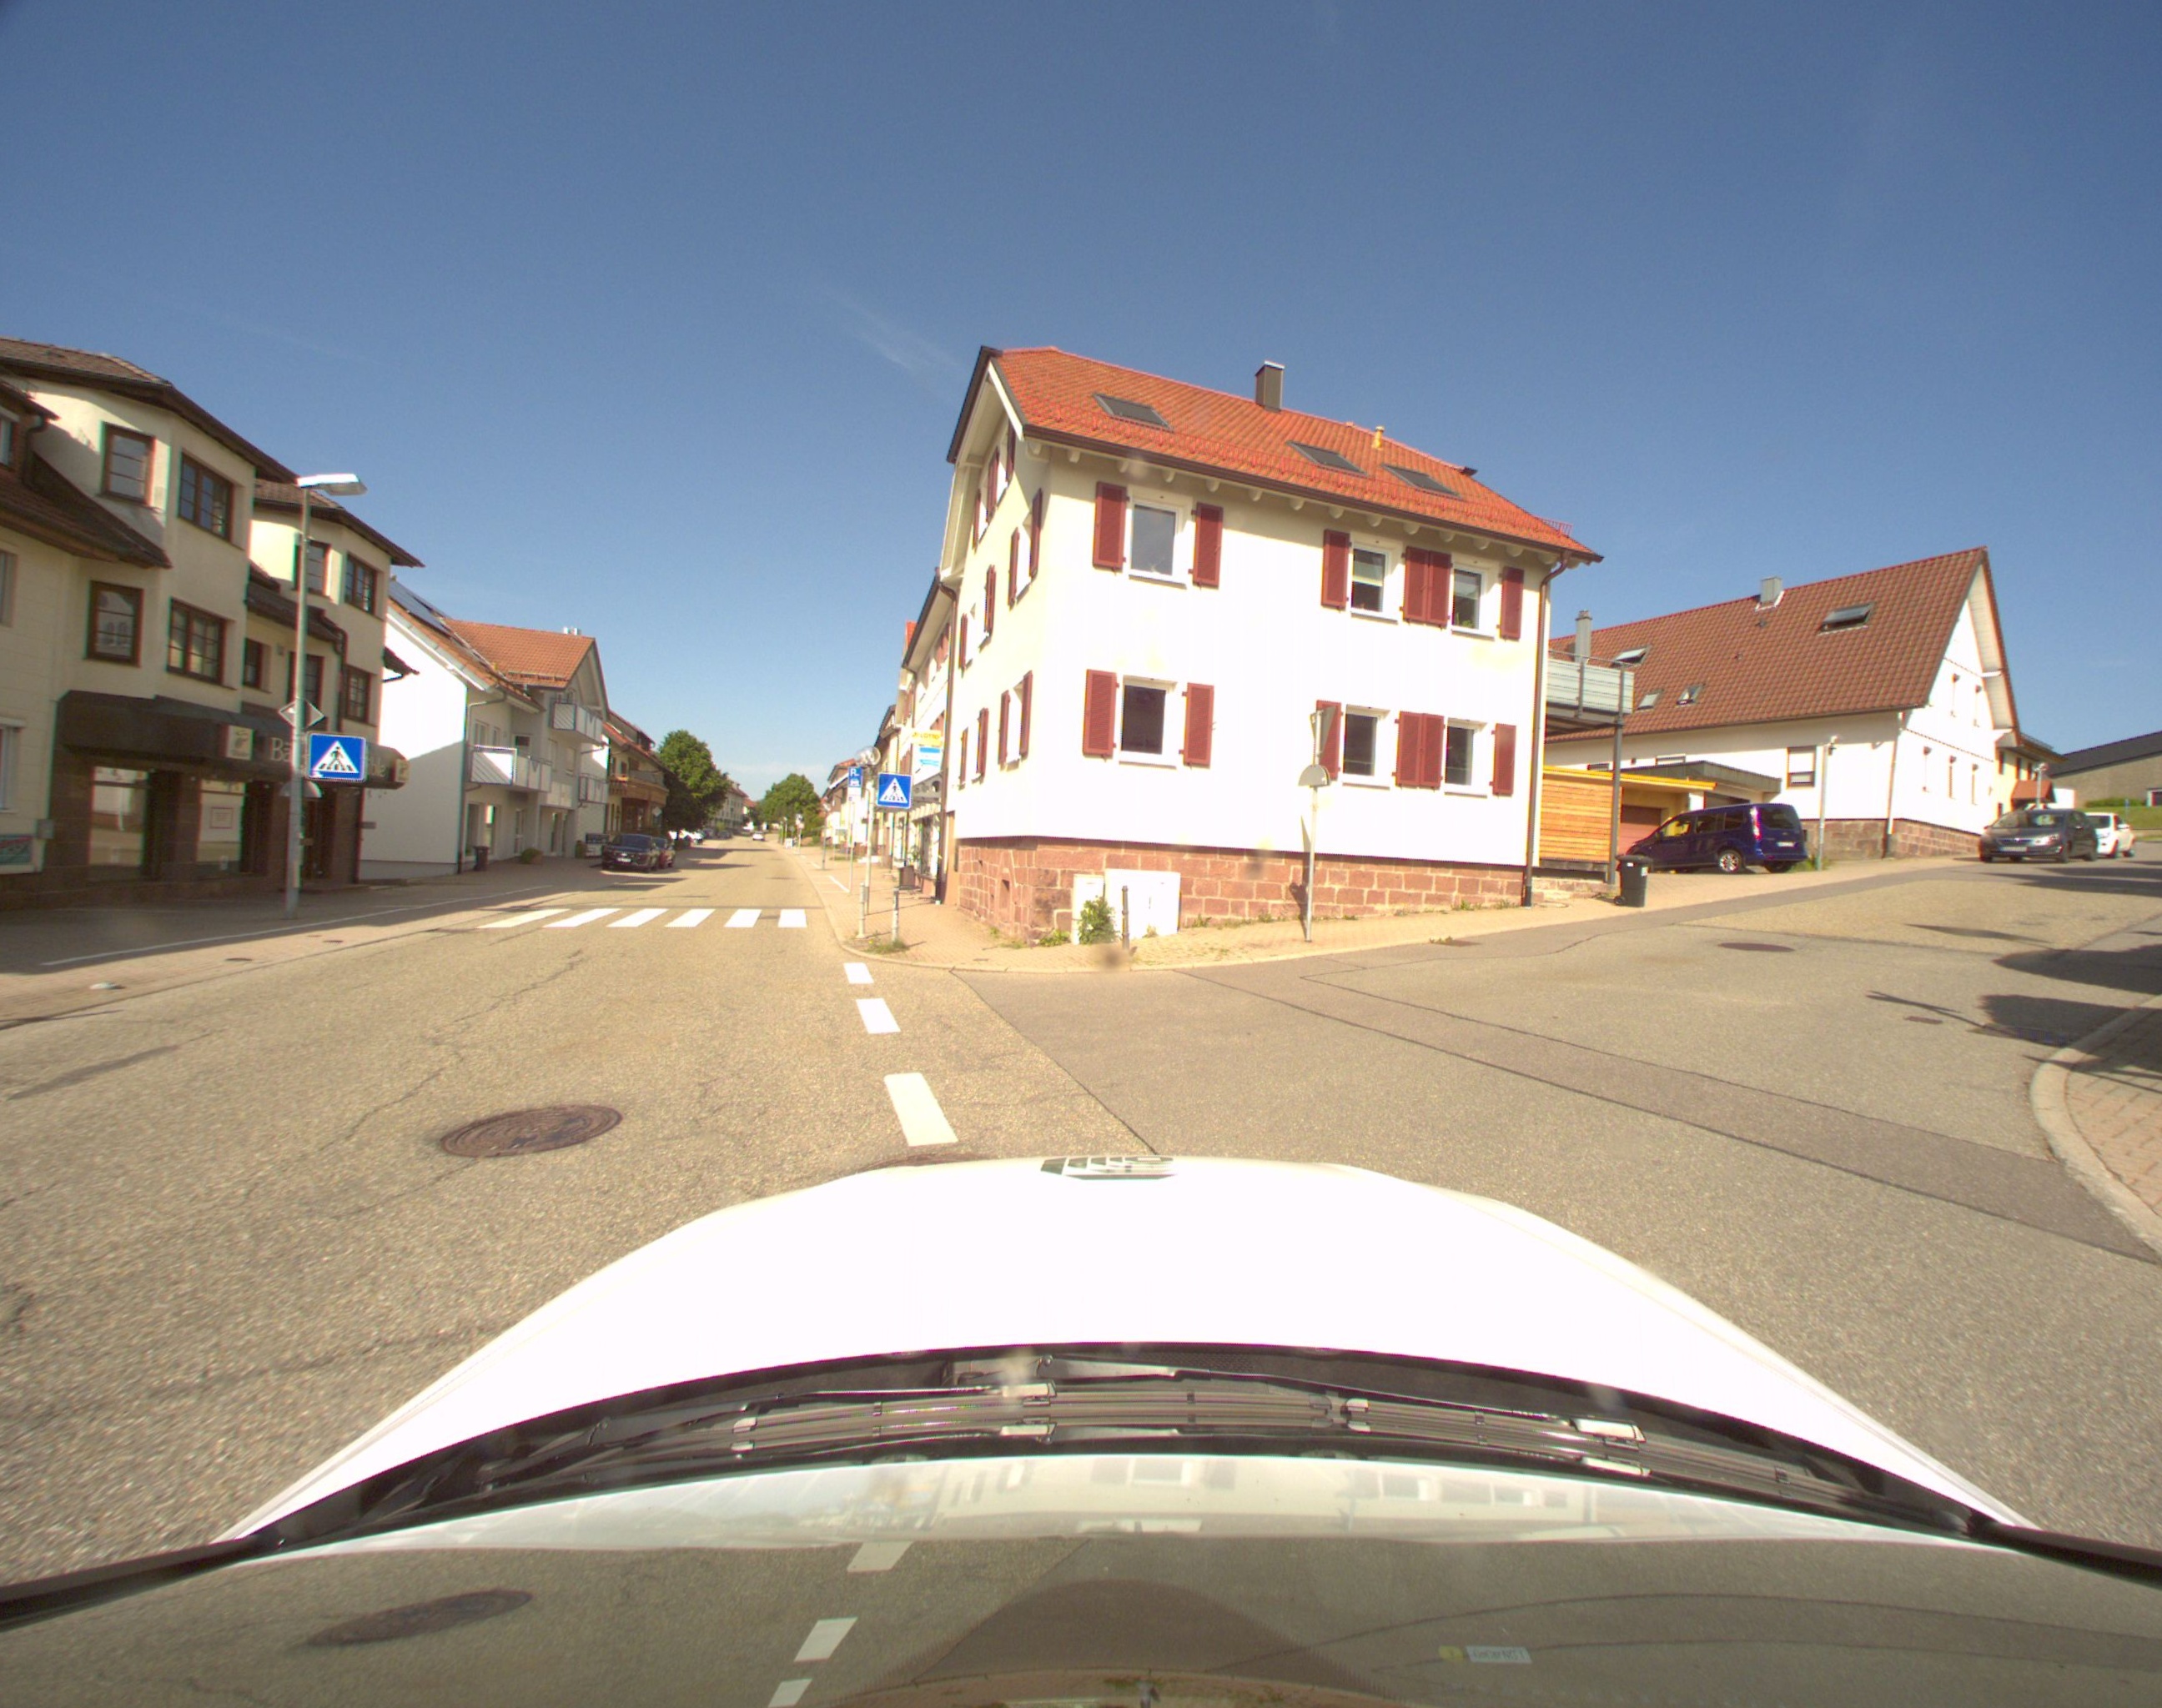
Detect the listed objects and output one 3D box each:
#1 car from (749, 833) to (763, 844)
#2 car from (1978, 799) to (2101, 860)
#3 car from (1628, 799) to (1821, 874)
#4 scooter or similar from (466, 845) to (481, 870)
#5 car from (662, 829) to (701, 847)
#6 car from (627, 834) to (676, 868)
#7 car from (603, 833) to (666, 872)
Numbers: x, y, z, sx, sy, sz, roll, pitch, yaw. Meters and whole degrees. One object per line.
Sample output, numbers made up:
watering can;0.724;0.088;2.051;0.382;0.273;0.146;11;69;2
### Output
car;-62.428;-2.939;156.505;2.504;2.013;4.274;0;1;-21
car;28.608;-0.727;24.299;3.494;1.680;1.607;0;2;-28
car;17.566;-0.487;22.485;1.729;1.864;3.981;-1;1;-14
scooter or similar;-22.211;0.123;29.771;0.353;0.890;0.391;0;0;-25
car;-47.140;-1.868;96.175;4.012;2.013;1.981;-1;2;-30
car;-21.788;-0.164;41.432;1.675;1.674;3.291;0;0;-18
car;-19.944;-0.081;36.499;1.677;1.533;3.514;7;-1;-18
